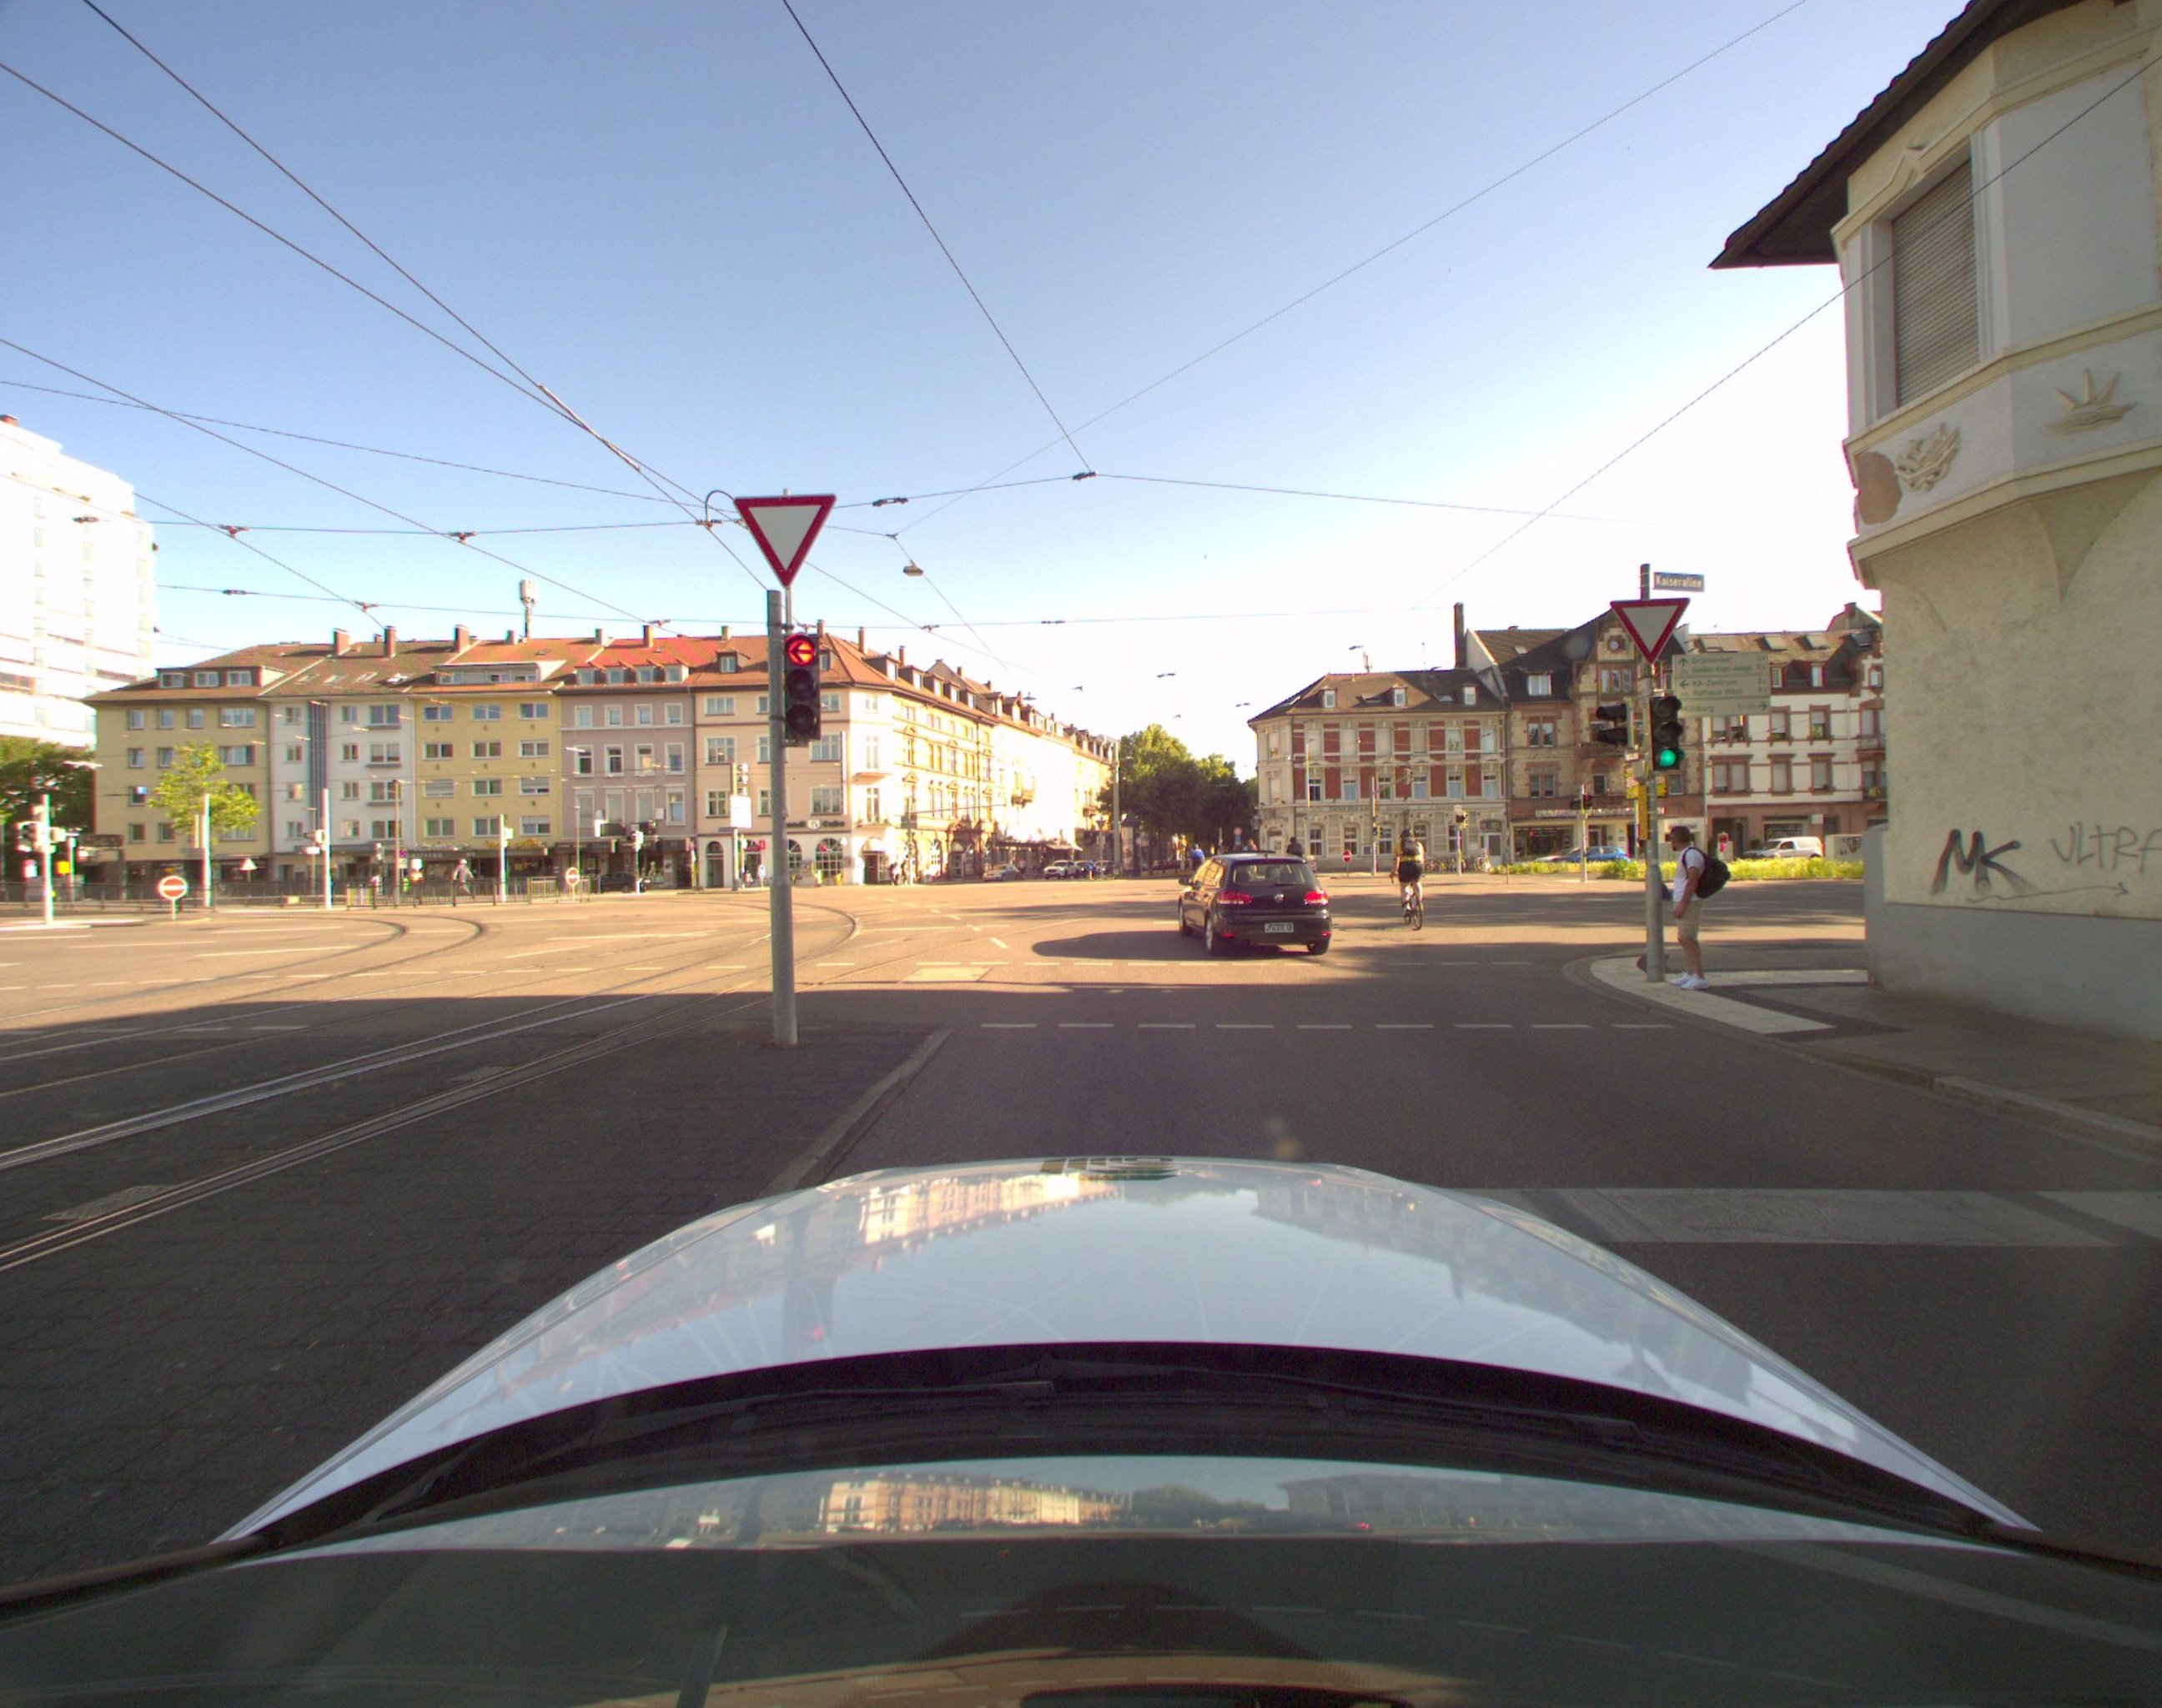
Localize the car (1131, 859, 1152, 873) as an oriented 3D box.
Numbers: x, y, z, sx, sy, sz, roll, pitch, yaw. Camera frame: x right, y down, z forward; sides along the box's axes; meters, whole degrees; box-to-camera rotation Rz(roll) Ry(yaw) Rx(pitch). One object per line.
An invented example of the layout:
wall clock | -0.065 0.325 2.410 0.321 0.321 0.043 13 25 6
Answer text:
car | 8.389 1.614 112.701 1.977 1.904 4.019 -1 -1 19

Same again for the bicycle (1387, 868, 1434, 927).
bicycle | 6.209 0.787 15.410 0.748 1.031 1.789 -1 -1 20

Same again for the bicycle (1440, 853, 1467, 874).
bicycle | 23.980 0.607 52.425 0.626 1.287 2.663 0 -1 3

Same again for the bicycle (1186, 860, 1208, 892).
bicycle | 3.981 0.744 28.023 0.623 1.085 1.705 0 -1 5

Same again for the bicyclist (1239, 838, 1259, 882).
bicyclist | 6.369 0.243 30.877 0.684 1.633 0.887 -1 -1 14

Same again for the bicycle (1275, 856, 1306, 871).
bicycle | 14.646 0.638 56.937 2.040 0.998 0.631 -1 -1 4

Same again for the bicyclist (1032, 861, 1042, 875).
bicyclist | -3.777 1.196 70.619 0.626 1.185 0.689 -1 -1 23

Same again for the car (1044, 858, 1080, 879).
car | -1.576 1.191 67.572 1.979 1.618 4.015 -1 -1 14

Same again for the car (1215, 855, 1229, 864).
car | 23.283 0.916 134.376 1.546 1.513 3.673 -1 -1 19

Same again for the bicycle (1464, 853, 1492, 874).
bicycle | 25.498 0.619 52.393 0.626 1.287 2.663 0 -1 3

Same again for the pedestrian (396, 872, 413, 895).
pedestrian | -47.793 2.076 57.564 0.631 1.634 0.700 0 -1 -2

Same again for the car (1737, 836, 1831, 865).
car | 45.307 -0.219 52.580 4.349 1.778 2.000 0 -1 1

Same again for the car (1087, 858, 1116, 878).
car | 2.005 1.395 79.707 1.979 1.904 4.015 -1 -1 14

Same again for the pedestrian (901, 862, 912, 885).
pedestrian | -12.343 1.356 57.723 0.631 1.634 0.700 0 -1 -2

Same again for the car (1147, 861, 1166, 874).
car | 11.360 2.067 122.485 1.977 1.904 4.019 -1 -1 19

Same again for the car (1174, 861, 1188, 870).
car | 16.766 1.924 135.928 1.546 1.513 3.673 -1 -1 19

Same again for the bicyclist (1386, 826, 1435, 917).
bicyclist | 6.230 0.333 15.428 0.799 1.663 0.888 -1 -1 19

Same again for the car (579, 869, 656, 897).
car | -30.594 1.900 53.822 3.962 1.670 2.006 -2 0 10

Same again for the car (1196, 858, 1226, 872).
car | 18.330 1.560 114.733 3.955 1.904 2.009 -1 -1 17

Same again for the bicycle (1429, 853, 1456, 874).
bicycle | 23.257 0.620 52.432 0.689 1.287 2.663 0 -1 3

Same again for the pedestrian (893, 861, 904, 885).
pedestrian | -12.642 1.333 56.373 0.631 1.634 0.700 0 -1 -2

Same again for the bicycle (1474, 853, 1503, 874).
bicycle | 26.193 0.612 52.364 0.626 1.287 2.663 0 -1 3

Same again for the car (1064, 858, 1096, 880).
car | -0.065 1.362 73.782 1.979 1.904 4.015 -1 -1 14

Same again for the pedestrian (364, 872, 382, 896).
pedestrian | -49.069 2.076 56.443 0.631 1.634 0.700 0 -1 -2

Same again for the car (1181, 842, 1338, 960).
car | 2.626 0.603 12.882 1.722 1.508 4.053 0 1 2

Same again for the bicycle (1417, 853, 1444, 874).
bicycle | 22.496 0.623 52.451 0.689 1.287 2.663 0 -1 3

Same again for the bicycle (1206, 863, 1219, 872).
bicycle | 15.986 1.647 98.873 0.630 1.085 1.687 0 -1 -28

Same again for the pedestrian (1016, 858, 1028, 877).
pedestrian | -4.765 1.097 65.497 0.814 1.512 0.601 -1 -1 16

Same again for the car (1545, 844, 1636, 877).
car | 28.261 0.361 45.269 3.769 1.778 2.000 0 -1 1

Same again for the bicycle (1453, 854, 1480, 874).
bicycle | 24.770 0.630 52.397 0.626 1.287 2.663 0 -1 3

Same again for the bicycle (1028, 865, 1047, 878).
bicycle | -3.752 1.499 70.679 0.644 1.123 2.265 -1 -1 23

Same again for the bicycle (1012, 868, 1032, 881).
bicycle | -4.737 1.626 65.565 0.756 1.008 2.406 -1 -1 16

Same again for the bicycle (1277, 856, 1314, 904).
bicycle | 5.690 0.669 21.675 0.751 1.236 1.706 0 -1 7

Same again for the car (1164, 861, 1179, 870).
car | 14.677 1.882 131.850 1.546 1.513 3.673 -1 -1 19

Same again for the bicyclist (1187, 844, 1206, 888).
bicyclist | 3.990 0.412 28.174 0.635 1.494 0.885 0 1 6

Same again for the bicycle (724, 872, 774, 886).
bicycle | -23.430 1.775 57.471 3.118 0.980 1.002 0 -1 1

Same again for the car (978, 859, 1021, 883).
car | -6.683 1.358 67.455 1.977 1.904 4.019 -1 -1 19

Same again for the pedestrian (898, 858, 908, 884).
pedestrian | -12.831 1.227 58.820 0.631 1.881 0.465 0 -1 -2

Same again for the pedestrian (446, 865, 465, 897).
pedestrian | -31.969 1.362 41.643 0.523 1.628 0.577 0 -1 0

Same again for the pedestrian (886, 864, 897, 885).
pedestrian | -13.432 1.449 57.742 0.631 1.477 0.465 0 -1 -2

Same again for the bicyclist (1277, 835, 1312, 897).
bicyclist | 5.690 0.317 21.728 0.801 1.606 0.885 0 -1 7

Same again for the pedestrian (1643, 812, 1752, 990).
pedestrian | 6.434 0.476 8.507 0.589 1.756 0.635 -5 -1 -37
